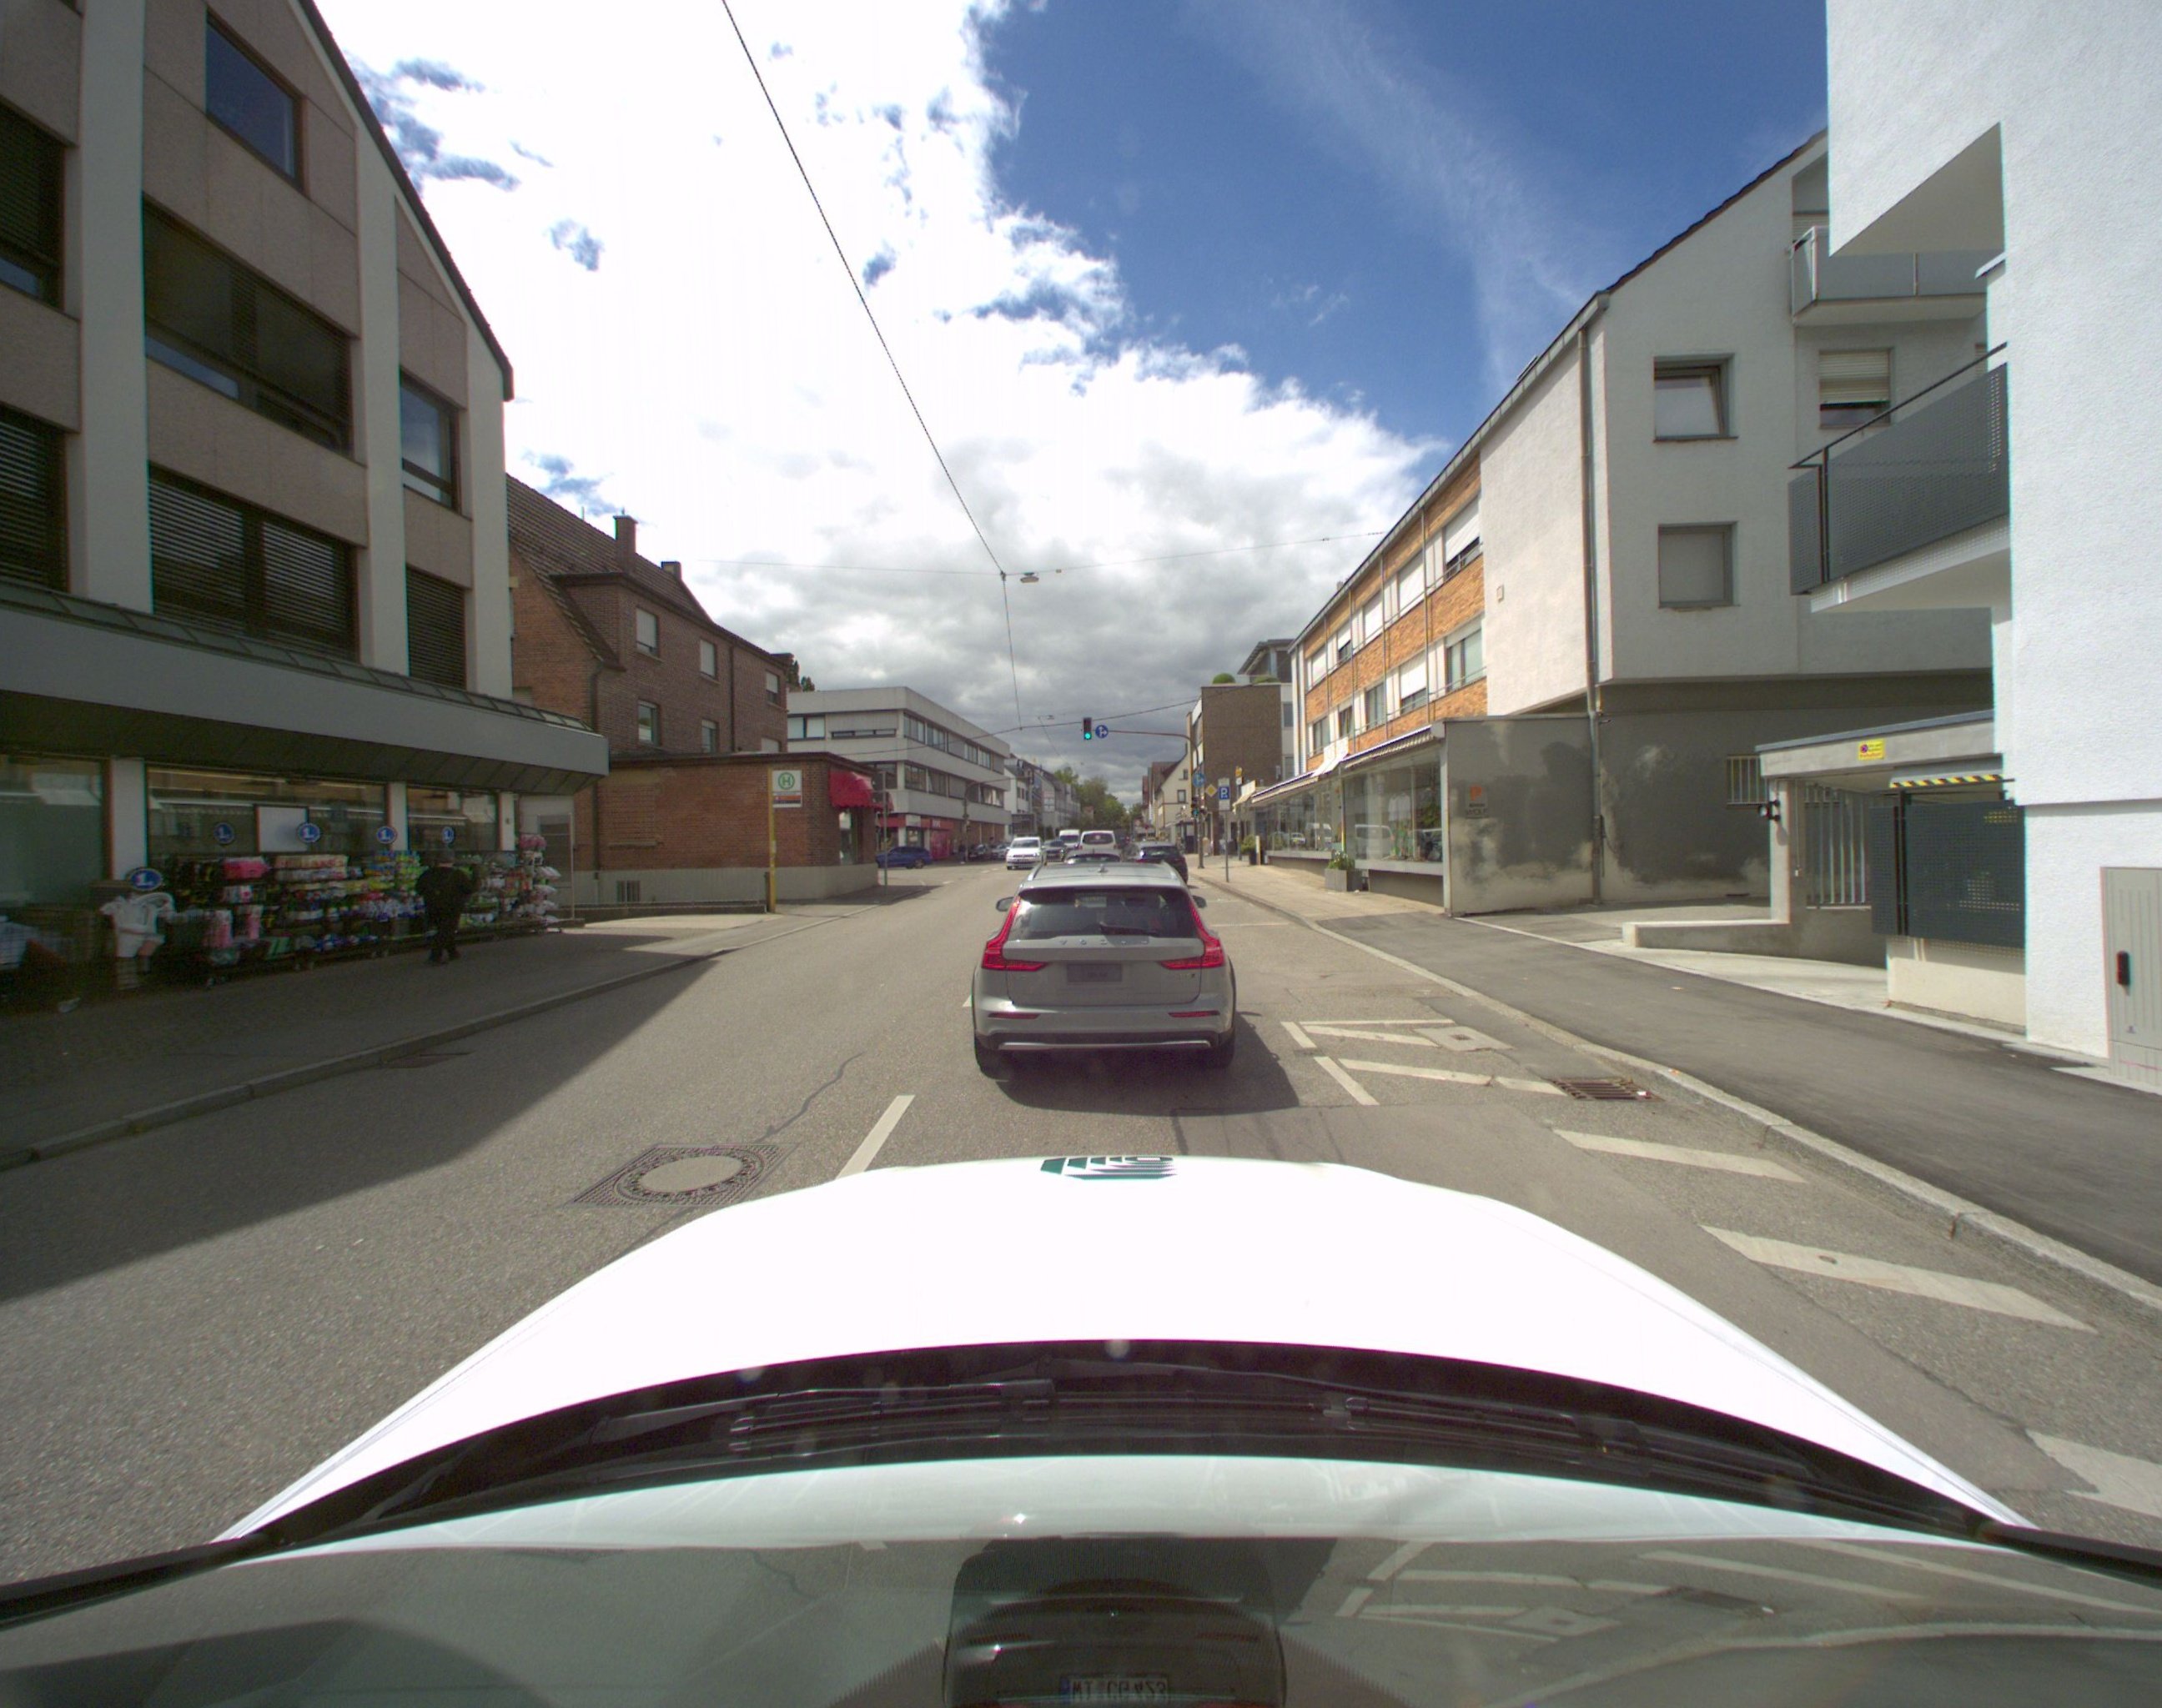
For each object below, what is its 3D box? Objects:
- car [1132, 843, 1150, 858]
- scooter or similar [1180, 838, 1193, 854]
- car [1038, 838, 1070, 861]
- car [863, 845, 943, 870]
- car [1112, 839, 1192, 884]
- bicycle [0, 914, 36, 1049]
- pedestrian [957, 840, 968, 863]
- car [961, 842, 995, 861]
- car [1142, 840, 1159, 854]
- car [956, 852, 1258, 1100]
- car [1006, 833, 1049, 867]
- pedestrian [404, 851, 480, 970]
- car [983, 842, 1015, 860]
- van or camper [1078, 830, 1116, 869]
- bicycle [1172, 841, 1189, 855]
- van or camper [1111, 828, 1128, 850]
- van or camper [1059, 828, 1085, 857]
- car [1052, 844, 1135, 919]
[{"bbox_3d":[5.421,-0.351,73.949,1.433,1.287,3.249,-2,0,2],"label":"car"},{"bbox_3d":[8.530,-0.647,65.864,0.342,1.253,1.236,-4,0,-23],"label":"scooter or similar"},{"bbox_3d":[-1.888,-0.307,57.903,1.782,1.511,3.850,-2,0,5],"label":"car"},{"bbox_3d":[-10.966,0.214,50.194,4.374,1.337,1.979,-3,1,-34],"label":"car"},{"bbox_3d":[2.243,0.232,26.782,1.806,1.346,3.708,-2,0,-8],"label":"car"},{"bbox_3d":[-8.872,1.027,5.825,0.442,1.050,1.735,5,0,2],"label":"bicycle"},{"bbox_3d":[-8.499,-0.185,58.254,0.616,1.641,0.661,-2,1,3],"label":"pedestrian"},{"bbox_3d":[-8.238,-0.252,65.313,1.776,1.464,4.094,0,1,6],"label":"car"},{"bbox_3d":[8.040,-0.790,94.428,1.705,1.464,4.000,-1,-1,0],"label":"car"},{"bbox_3d":[0.219,0.758,7.026,1.829,1.486,4.002,-1,0,2],"label":"car"},{"bbox_3d":[-2.703,-0.218,42.175,1.768,1.613,4.122,-2,0,2],"label":"car"},{"bbox_3d":[-8.732,0.745,11.136,0.776,1.558,0.567,1,-2,-39],"label":"pedestrian"},{"bbox_3d":[-7.134,-0.282,71.045,1.894,1.443,4.451,0,1,6],"label":"car"},{"bbox_3d":[0.836,-0.171,41.406,1.812,1.835,4.001,-1,-1,2],"label":"van or camper"},{"bbox_3d":[8.469,-0.484,69.115,0.555,1.144,2.288,-3,1,-15],"label":"bicycle"},{"bbox_3d":[5.028,-1.920,105.807,2.114,2.686,4.785,-2,1,3],"label":"van or camper"},{"bbox_3d":[-0.800,-1.086,76.075,2.141,2.556,5.438,-2,2,0],"label":"van or camper"},{"bbox_3d":[0.316,0.544,18.097,1.644,1.482,3.609,-1,0,2],"label":"car"}]
